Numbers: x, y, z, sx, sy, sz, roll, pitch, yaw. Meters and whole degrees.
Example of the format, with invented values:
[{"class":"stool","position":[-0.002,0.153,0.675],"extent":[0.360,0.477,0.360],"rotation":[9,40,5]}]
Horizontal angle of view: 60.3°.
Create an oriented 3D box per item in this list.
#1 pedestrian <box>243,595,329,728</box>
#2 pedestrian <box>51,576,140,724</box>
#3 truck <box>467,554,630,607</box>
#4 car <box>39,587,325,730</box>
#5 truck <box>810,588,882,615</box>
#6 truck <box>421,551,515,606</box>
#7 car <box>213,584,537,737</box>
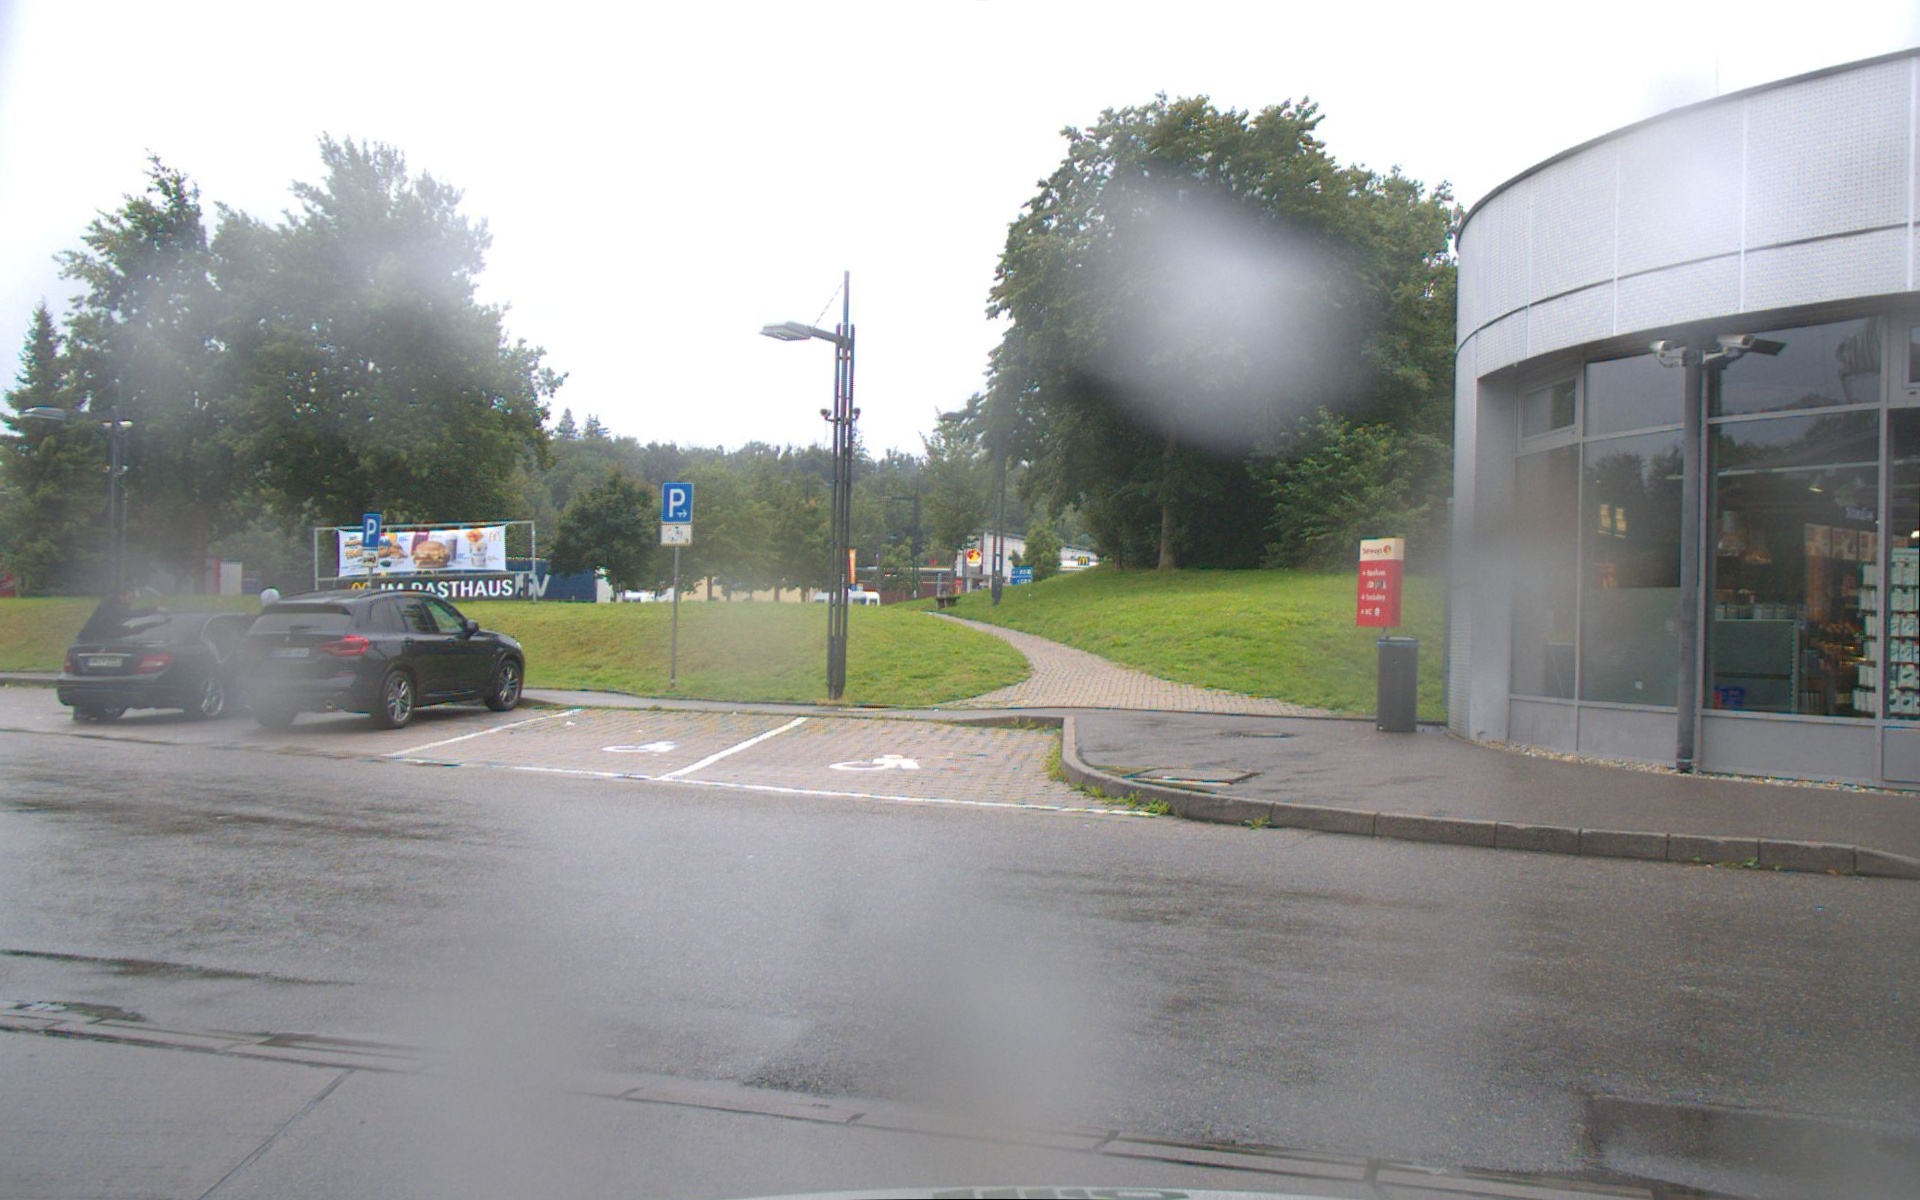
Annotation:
[{"class":"pedestrian","position":[-8.679,0.779,21.283],"extent":[0.940,1.660,0.697],"rotation":[1,-1,-28]},{"class":"pedestrian","position":[-11.480,0.648,21.970],"extent":[0.875,1.920,0.701],"rotation":[1,-1,36]},{"class":"truck","position":[-24.927,-1.094,101.264],"extent":[2.142,2.971,13.092],"rotation":[1,0,23]},{"class":"car","position":[-10.572,0.714,22.884],"extent":[1.976,1.741,4.342],"rotation":[-1,1,-2]},{"class":"truck","position":[-9.230,0.133,133.661],"extent":[5.298,2.049,2.366],"rotation":[1,0,24]},{"class":"truck","position":[-27.978,-1.177,94.249],"extent":[2.142,2.971,5.384],"rotation":[1,0,24]},{"class":"car","position":[-7.364,0.688,21.366],"extent":[1.973,1.741,4.347],"rotation":[-1,1,11]}]
